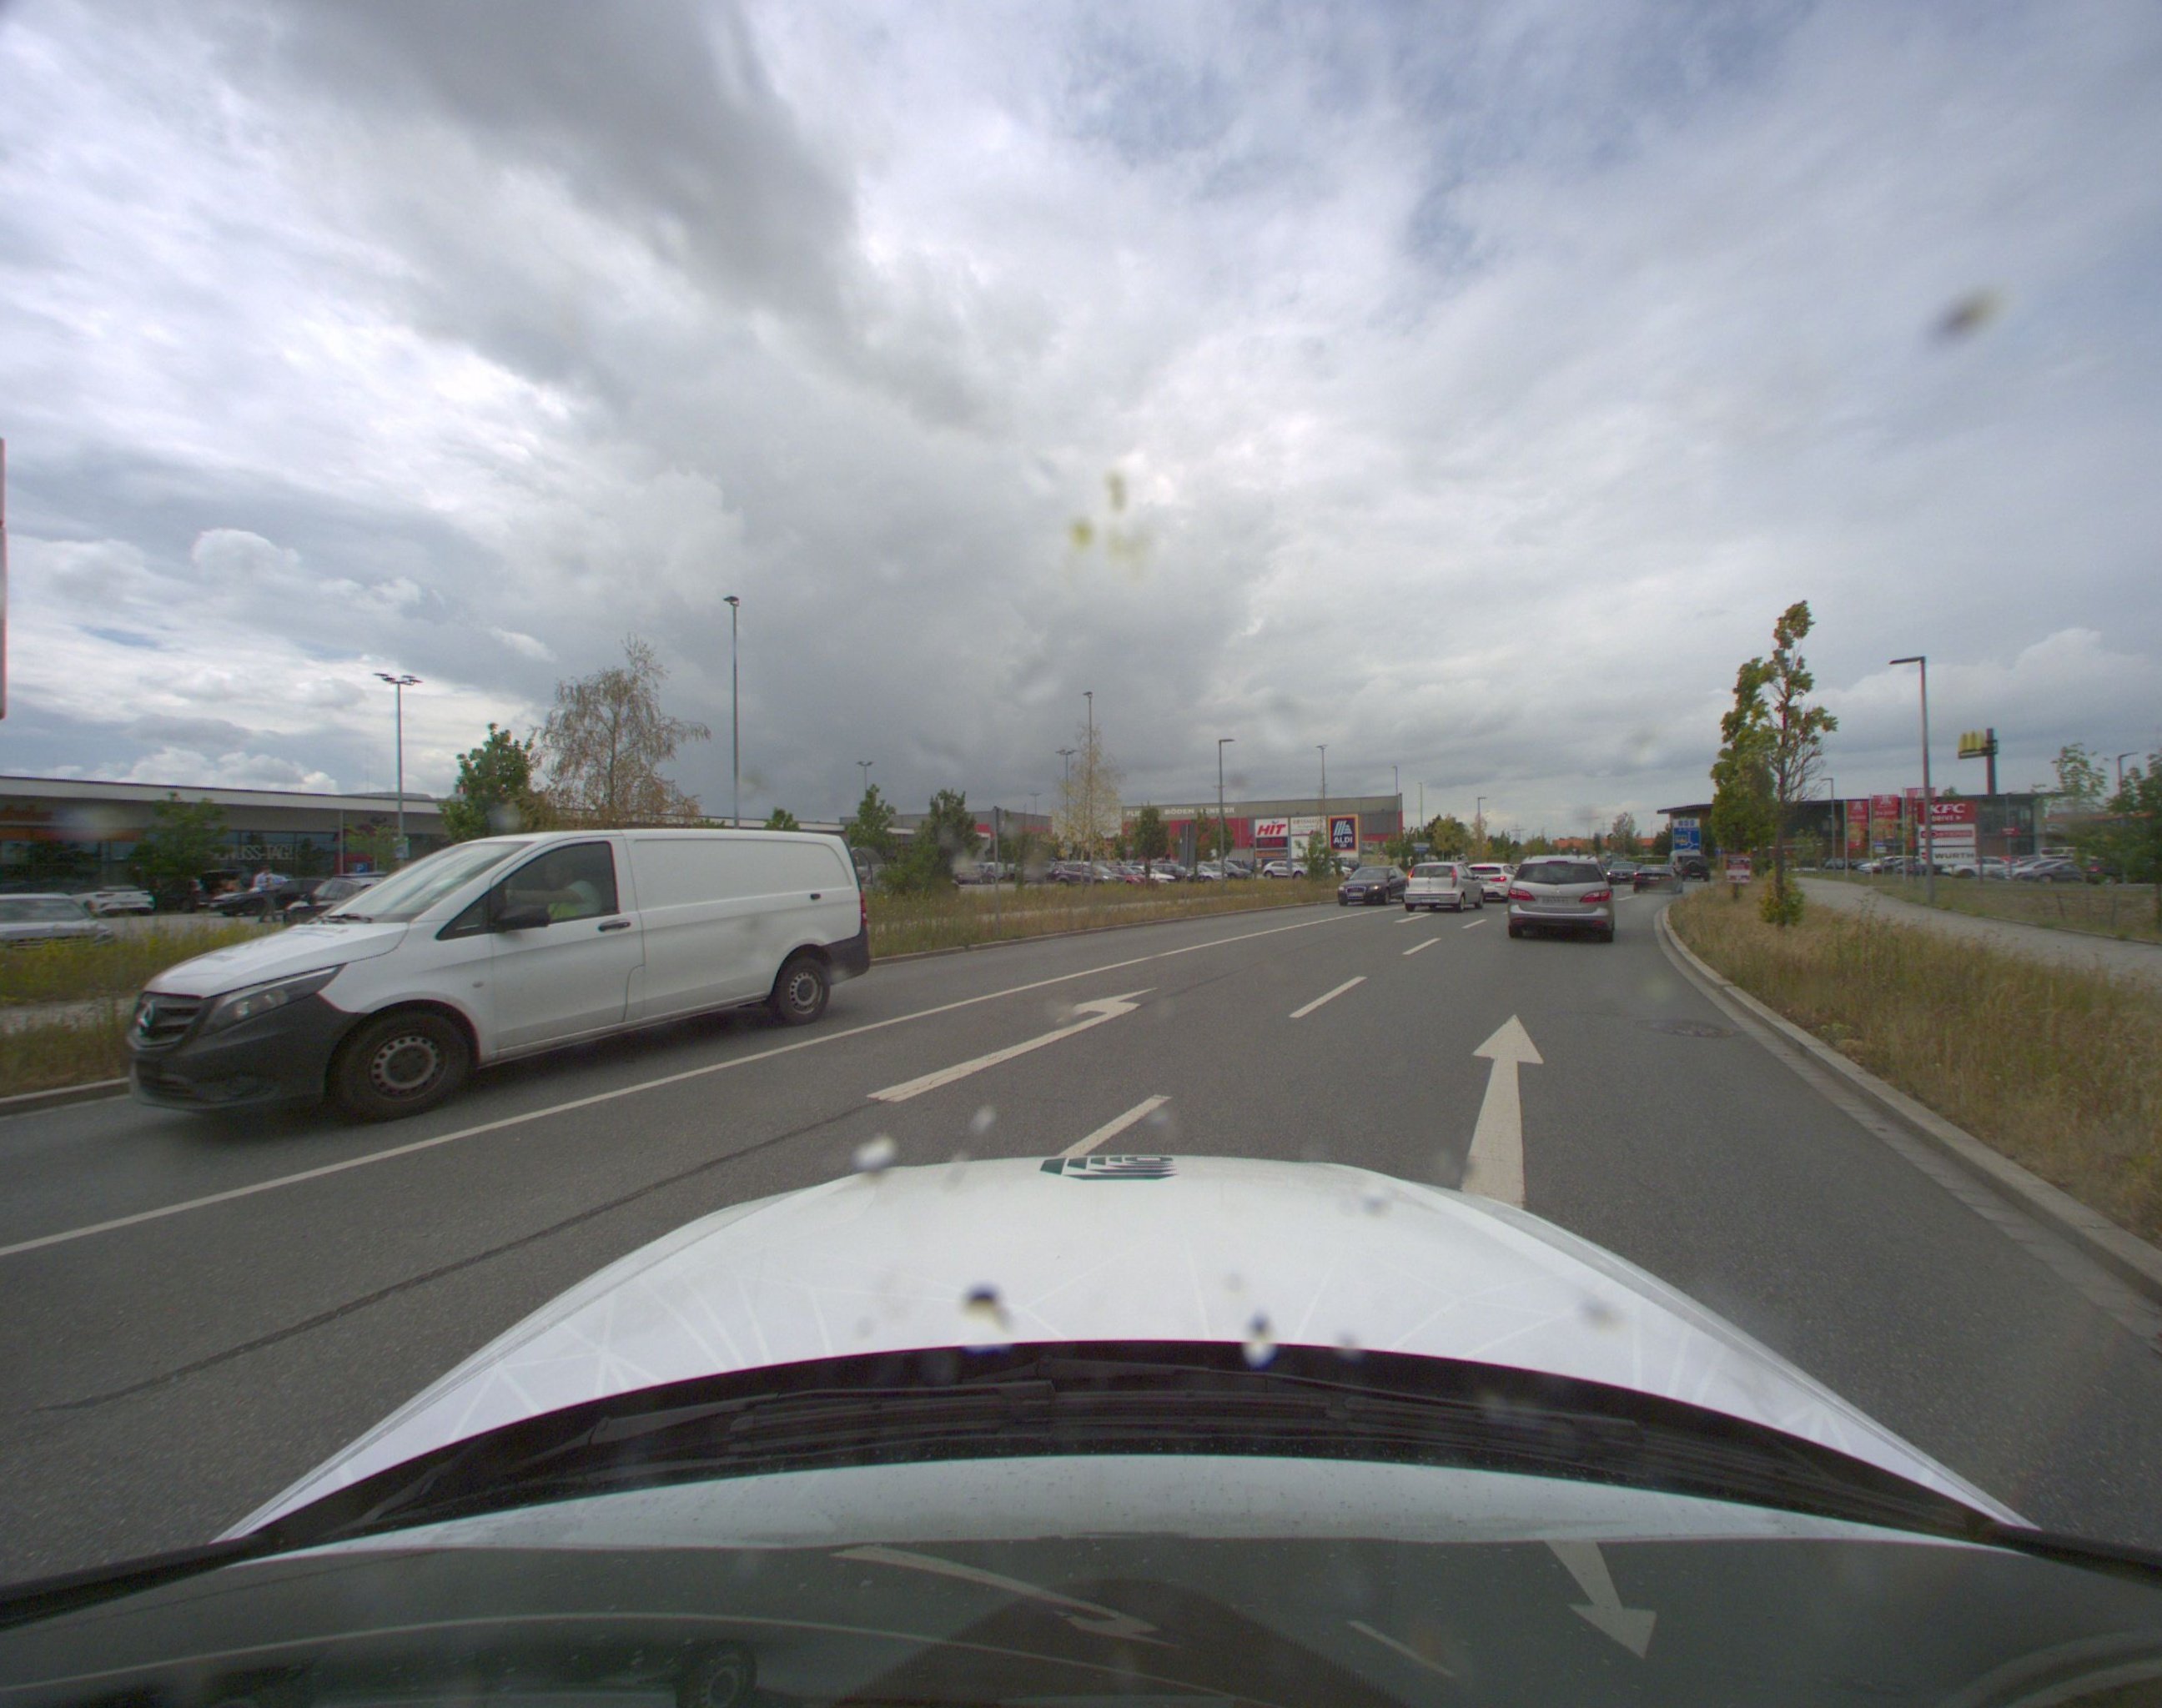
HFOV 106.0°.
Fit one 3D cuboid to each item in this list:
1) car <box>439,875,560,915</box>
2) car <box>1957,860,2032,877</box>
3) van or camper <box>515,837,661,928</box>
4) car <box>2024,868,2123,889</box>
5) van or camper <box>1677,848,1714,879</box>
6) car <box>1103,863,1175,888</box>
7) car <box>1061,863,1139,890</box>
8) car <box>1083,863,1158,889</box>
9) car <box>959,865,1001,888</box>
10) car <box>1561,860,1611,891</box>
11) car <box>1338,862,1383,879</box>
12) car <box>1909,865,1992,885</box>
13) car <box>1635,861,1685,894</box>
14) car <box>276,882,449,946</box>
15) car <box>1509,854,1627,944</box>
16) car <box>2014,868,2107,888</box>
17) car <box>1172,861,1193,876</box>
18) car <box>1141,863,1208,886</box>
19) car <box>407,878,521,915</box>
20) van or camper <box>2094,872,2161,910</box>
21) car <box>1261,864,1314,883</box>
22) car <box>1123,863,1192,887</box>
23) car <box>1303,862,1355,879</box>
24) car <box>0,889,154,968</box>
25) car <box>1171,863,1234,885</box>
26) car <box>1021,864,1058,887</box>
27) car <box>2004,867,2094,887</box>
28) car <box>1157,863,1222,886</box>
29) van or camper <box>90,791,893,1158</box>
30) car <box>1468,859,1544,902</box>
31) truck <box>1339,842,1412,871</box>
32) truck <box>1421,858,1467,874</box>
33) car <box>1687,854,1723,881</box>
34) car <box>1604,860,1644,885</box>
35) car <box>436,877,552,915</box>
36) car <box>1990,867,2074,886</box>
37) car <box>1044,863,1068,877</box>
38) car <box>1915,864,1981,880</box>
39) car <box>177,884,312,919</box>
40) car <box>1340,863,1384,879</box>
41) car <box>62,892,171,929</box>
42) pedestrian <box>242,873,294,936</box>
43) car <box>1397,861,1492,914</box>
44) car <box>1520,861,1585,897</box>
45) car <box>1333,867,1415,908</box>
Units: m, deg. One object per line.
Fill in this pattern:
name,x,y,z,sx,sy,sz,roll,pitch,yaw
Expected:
car,-26.320,1.835,36.990,1.974,1.618,4.025,-2,-1,30
car,69.305,1.106,61.848,3.558,1.244,1.640,-2,-2,40
van or camper,-14.799,0.879,24.420,3.948,2.492,2.305,-3,-2,34
car,60.768,1.508,49.951,3.558,1.244,1.640,-2,-2,40
van or camper,52.987,0.847,70.167,2.168,2.542,6.204,-2,-3,39
car,3.456,1.288,48.274,3.765,1.390,1.926,-2,-1,33
car,1.034,1.233,44.354,3.765,1.390,1.926,-2,-1,33
car,2.246,1.264,46.458,3.765,1.390,1.926,-2,-1,33
car,-7.799,1.716,63.233,1.979,1.734,4.014,-1,-1,13
car,26.683,1.131,42.969,1.884,1.568,4.363,-2,-2,36
car,26.256,1.542,76.473,3.796,1.428,1.751,-1,-1,22
car,57.419,1.394,53.883,3.558,1.244,1.640,-2,-2,40
car,27.038,1.072,37.952,1.736,1.386,4.329,-2,-1,37
car,-18.169,1.488,20.583,4.097,1.451,2.007,-3,-2,29
car,9.825,0.794,16.427,1.797,1.563,4.429,-1,-1,32
car,62.449,1.526,52.004,3.558,1.244,1.640,-2,-2,40
car,12.022,1.737,96.351,1.743,1.654,3.854,-1,-1,17
car,5.940,1.337,52.057,3.765,1.390,1.926,-2,-1,33
car,-30.534,2.070,40.397,1.974,1.618,4.025,-2,-1,30
van or camper,53.332,1.810,40.103,3.948,1.794,1.833,-2,-2,39
car,16.852,1.562,66.455,3.792,1.428,1.753,-3,-2,38
car,4.686,1.312,50.144,3.765,1.390,1.926,-2,-1,33
car,22.141,1.470,72.725,3.948,1.442,2.013,-3,-2,34
car,-20.943,1.470,16.490,4.097,1.384,2.007,-3,-2,29
car,8.277,1.383,55.590,3.765,1.390,1.926,-2,-1,33
car,-3.092,1.592,61.335,1.745,1.654,3.850,-1,-1,13
car,63.807,1.544,53.769,3.558,1.244,1.640,-2,-2,40
car,7.159,1.360,53.874,3.765,1.390,1.926,-2,-1,33
van or camper,-4.196,0.663,7.018,1.974,1.912,5.236,-2,-1,29
car,15.790,0.961,30.157,1.777,1.450,4.276,-2,-1,37
truck,31.223,0.225,86.152,8.211,2.945,2.653,-1,-1,-32
truck,69.375,2.381,155.832,7.612,2.917,2.371,-2,-2,38
car,46.667,1.029,60.873,1.974,1.924,4.878,-2,-2,38
car,35.494,1.209,53.183,1.884,1.568,4.363,-2,-2,37
car,-28.046,1.963,39.016,1.974,1.618,4.025,-2,-1,30
car,66.711,1.571,57.189,3.558,1.244,1.640,-2,-2,40
car,-3.085,2.015,100.981,1.743,1.654,3.854,-1,-1,17
car,72.251,1.496,67.940,3.558,1.244,1.640,-2,-2,40
car,-39.678,2.231,38.764,1.976,1.508,4.021,-2,-1,23
car,27.064,1.605,78.436,3.796,1.428,1.751,-2,-1,22
car,-42.637,2.487,36.020,3.951,1.508,2.011,-2,-1,23
pedestrian,-26.643,1.630,26.694,0.856,2.014,1.010,-2,-2,29
car,11.091,0.972,24.709,1.777,1.461,3.840,-2,-1,37
car,21.167,1.084,36.474,1.787,1.508,4.915,-2,-1,38
car,10.978,1.222,30.351,1.751,1.384,4.176,-3,-2,35
